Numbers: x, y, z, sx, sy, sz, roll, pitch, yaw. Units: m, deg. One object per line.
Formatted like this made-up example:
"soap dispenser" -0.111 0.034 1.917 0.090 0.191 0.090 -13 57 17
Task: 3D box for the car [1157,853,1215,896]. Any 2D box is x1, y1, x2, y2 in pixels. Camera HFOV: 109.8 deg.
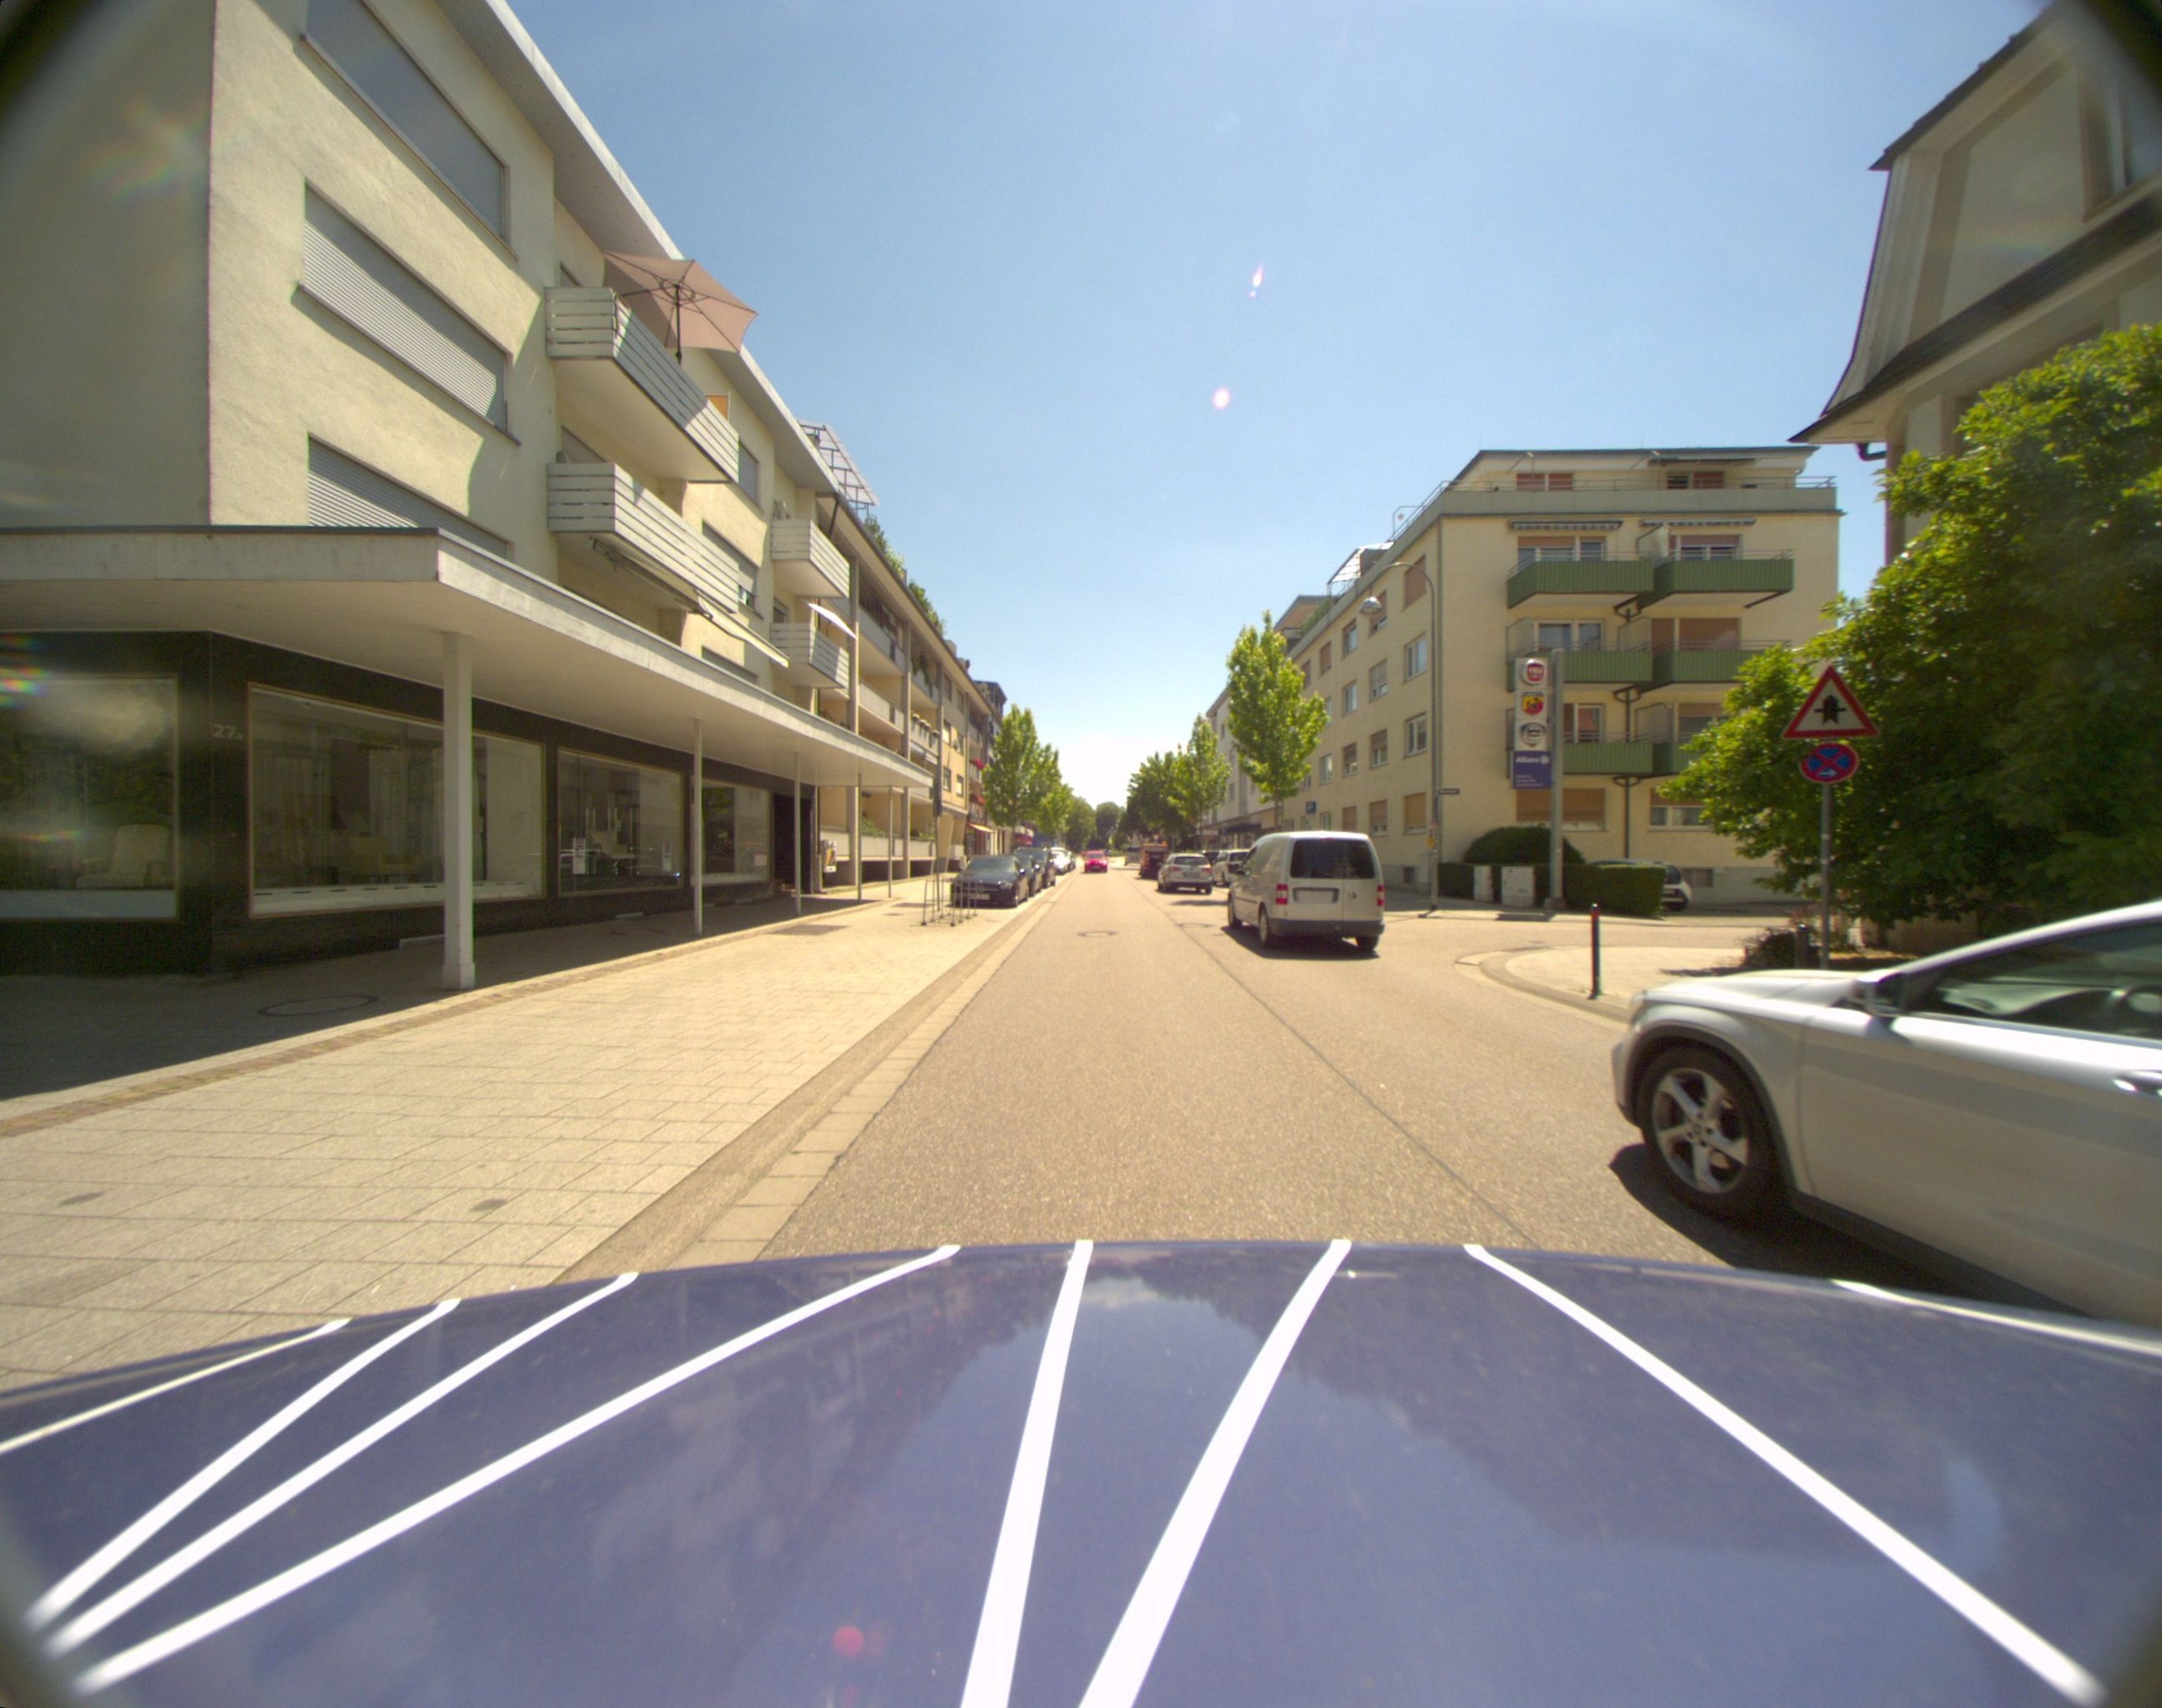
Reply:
"car" 4.008 0.727 29.608 1.731 1.500 4.294 1 1 1

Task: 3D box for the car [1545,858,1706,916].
"car" 15.756 0.898 22.244 1.751 1.499 3.748 0 0 -7

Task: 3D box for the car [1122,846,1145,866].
"car" 5.092 0.160 74.081 2.000 1.880 4.294 1 1 1

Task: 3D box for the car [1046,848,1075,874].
"car" -1.344 0.416 51.536 1.731 1.680 4.114 0 1 1

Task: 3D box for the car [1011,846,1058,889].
"car" -1.991 0.534 33.263 1.731 1.752 4.114 0 1 1

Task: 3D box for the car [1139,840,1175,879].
"car" 4.464 0.295 45.034 1.731 2.154 4.294 1 1 1

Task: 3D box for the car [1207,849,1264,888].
"car" 6.979 0.608 34.756 1.731 1.661 4.293 -1 1 0

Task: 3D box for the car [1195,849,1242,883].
"car" 7.127 0.567 39.838 1.731 1.661 4.294 -1 1 1

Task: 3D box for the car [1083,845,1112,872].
"car" 1.179 0.303 55.688 2.000 1.880 4.294 -2 1 1

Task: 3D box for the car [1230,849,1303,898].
"car" 6.876 0.656 28.622 1.731 1.661 4.294 -1 1 1

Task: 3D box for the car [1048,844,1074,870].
"car" -1.473 0.182 57.154 1.731 1.861 4.114 0 1 1

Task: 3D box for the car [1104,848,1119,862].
"car" 3.508 0.093 87.675 1.698 1.594 3.812 0 0 1

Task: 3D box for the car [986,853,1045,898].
"car" -2.297 0.714 27.610 1.731 1.499 4.114 0 1 1

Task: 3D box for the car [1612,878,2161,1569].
"car" 3.379 0.886 1.523 1.834 1.502 4.031 1 1 1

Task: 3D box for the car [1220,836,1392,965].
"car" 3.629 0.655 13.061 1.706 1.815 4.231 1 1 1

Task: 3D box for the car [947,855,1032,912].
"car" -2.524 0.773 21.914 1.818 1.379 4.114 3 1 1
